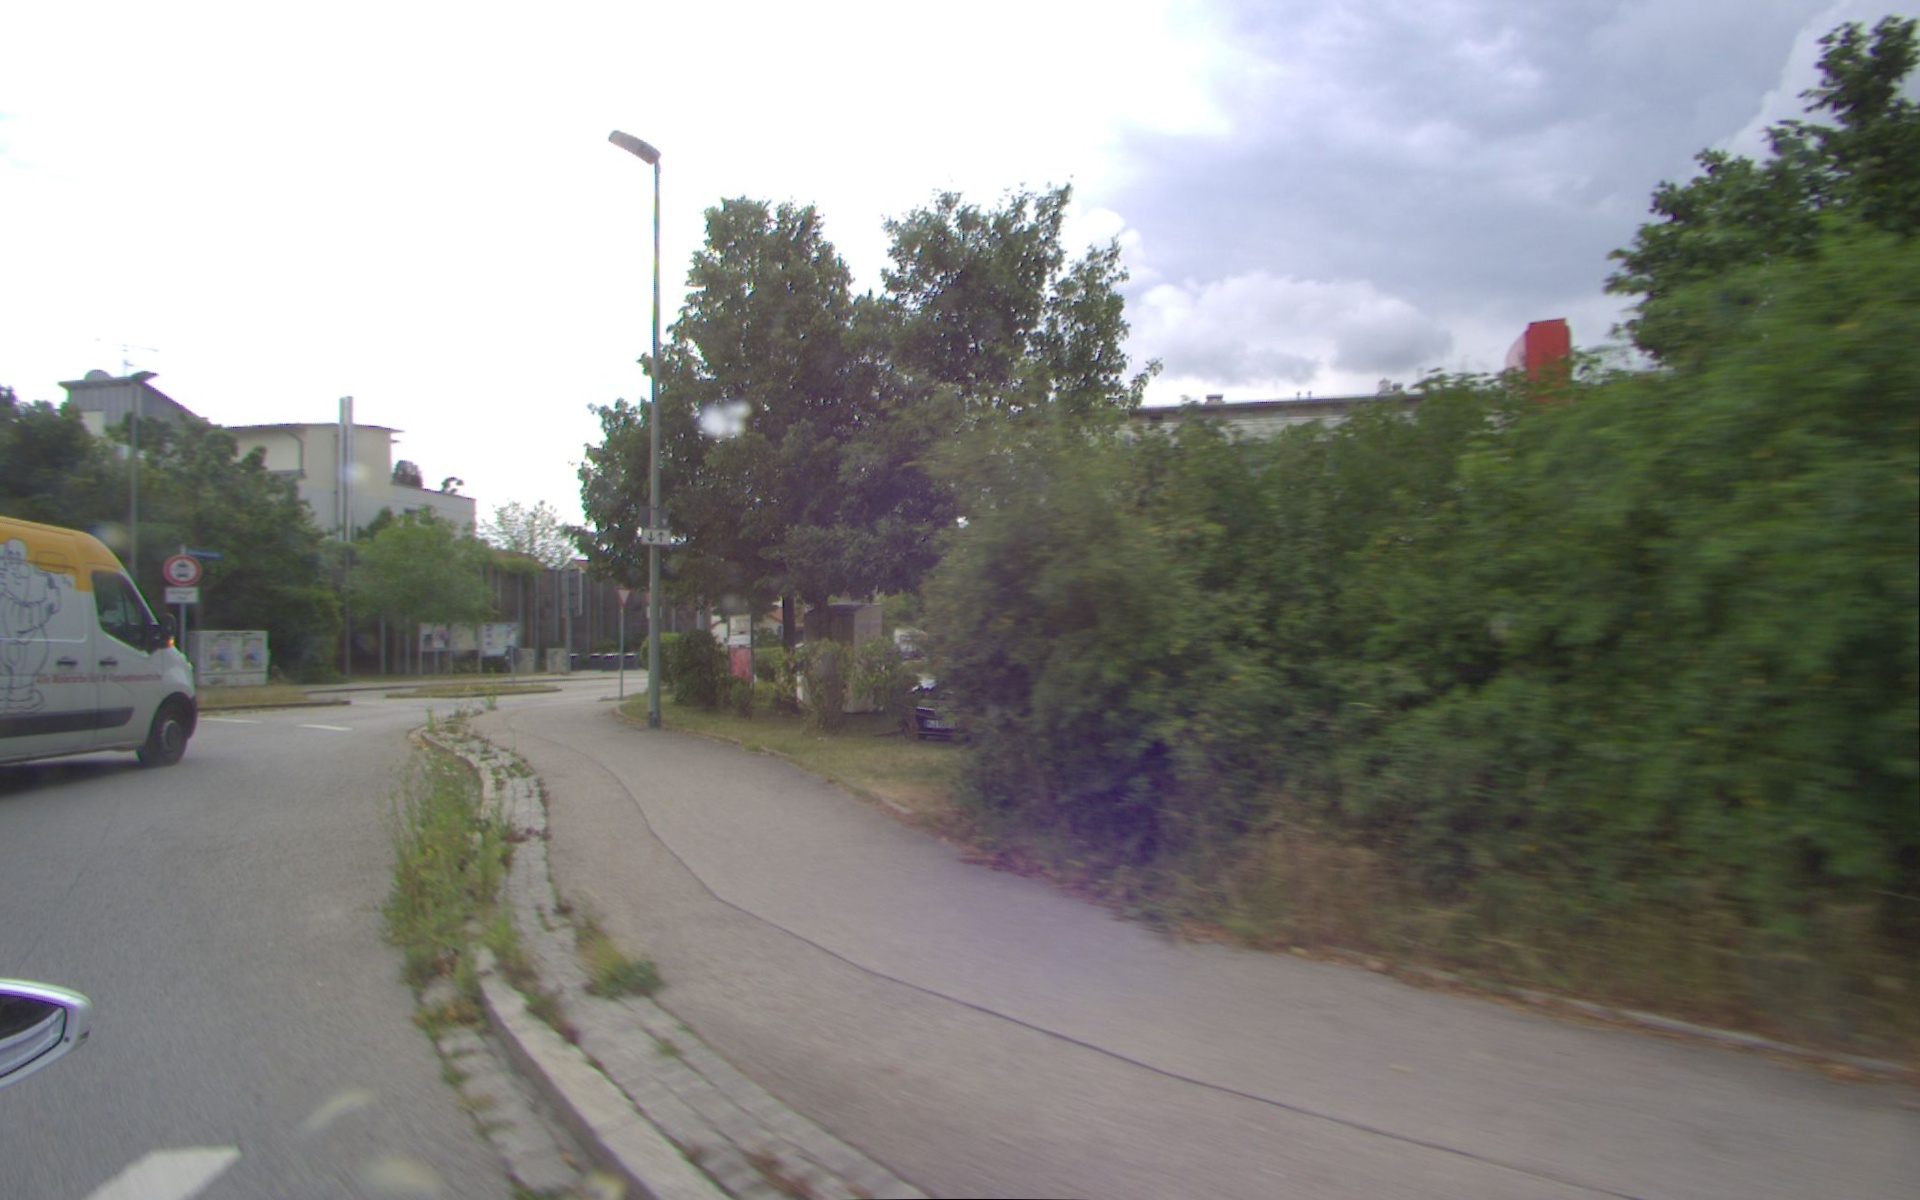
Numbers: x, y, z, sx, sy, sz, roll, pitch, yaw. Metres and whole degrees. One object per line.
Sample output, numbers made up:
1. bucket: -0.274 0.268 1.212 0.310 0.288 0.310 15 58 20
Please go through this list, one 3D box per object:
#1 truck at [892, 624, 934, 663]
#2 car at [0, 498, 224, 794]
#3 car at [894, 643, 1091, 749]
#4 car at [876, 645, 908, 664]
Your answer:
1. truck: -3.852 3.685 83.085 2.129 3.113 5.413 0 -4 12
2. car: -9.203 0.386 8.795 2.129 2.482 5.442 2 -3 -10
3. car: 0.710 1.483 16.781 1.734 1.512 4.405 0 -2 25
4. car: -5.171 4.134 76.382 1.513 1.396 3.510 -1 -3 13
